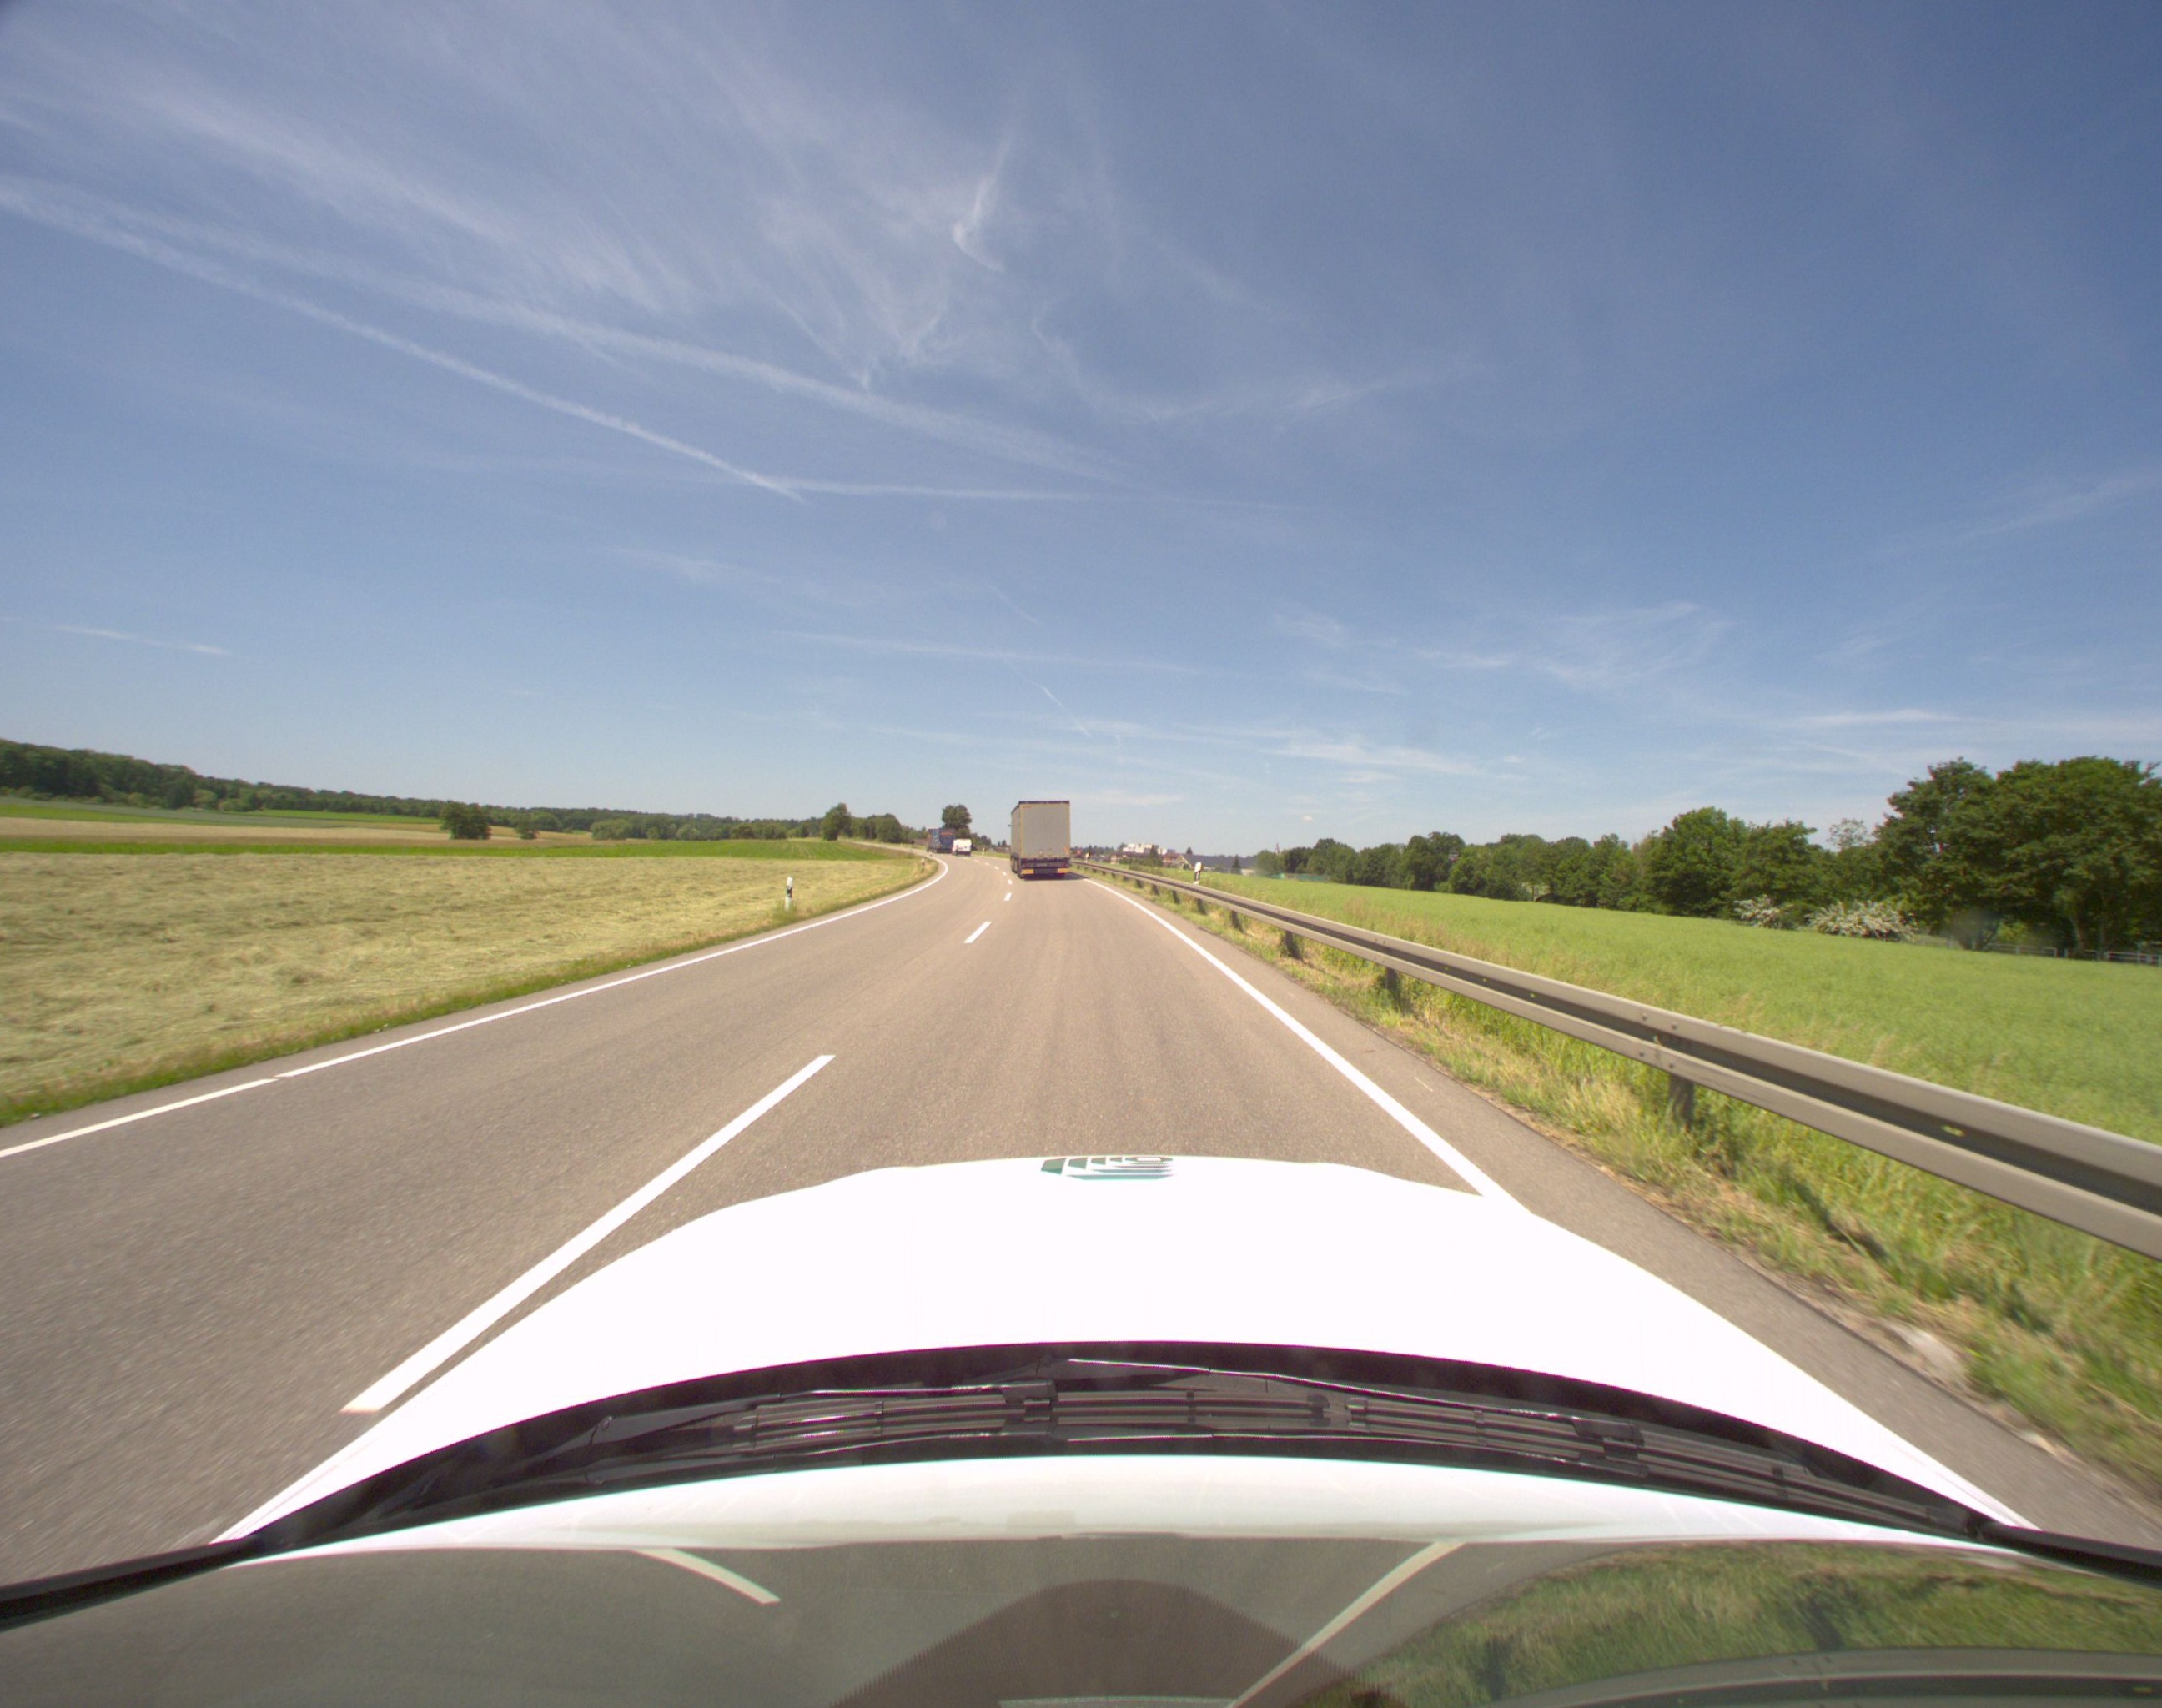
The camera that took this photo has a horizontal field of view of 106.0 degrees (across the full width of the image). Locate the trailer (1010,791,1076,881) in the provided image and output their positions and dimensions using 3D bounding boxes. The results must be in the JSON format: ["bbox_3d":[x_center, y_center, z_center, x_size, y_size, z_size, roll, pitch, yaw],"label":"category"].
[{"bbox_3d":[-2.433,-0.967,46.988,2.864,4.400,13.462,-1,1,-6],"label":"trailer"}]

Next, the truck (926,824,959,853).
[{"bbox_3d":[-23.089,-2.388,134.897,3.556,4.392,18.026,1,0,-15],"label":"truck"}]

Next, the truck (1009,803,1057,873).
[{"bbox_3d":[-3.250,-1.043,53.972,2.856,4.400,5.059,0,0,-7],"label":"truck"}]

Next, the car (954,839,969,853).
[{"bbox_3d":[-16.292,-1.127,110.939,1.727,1.872,3.983,1,1,-12],"label":"car"}]
